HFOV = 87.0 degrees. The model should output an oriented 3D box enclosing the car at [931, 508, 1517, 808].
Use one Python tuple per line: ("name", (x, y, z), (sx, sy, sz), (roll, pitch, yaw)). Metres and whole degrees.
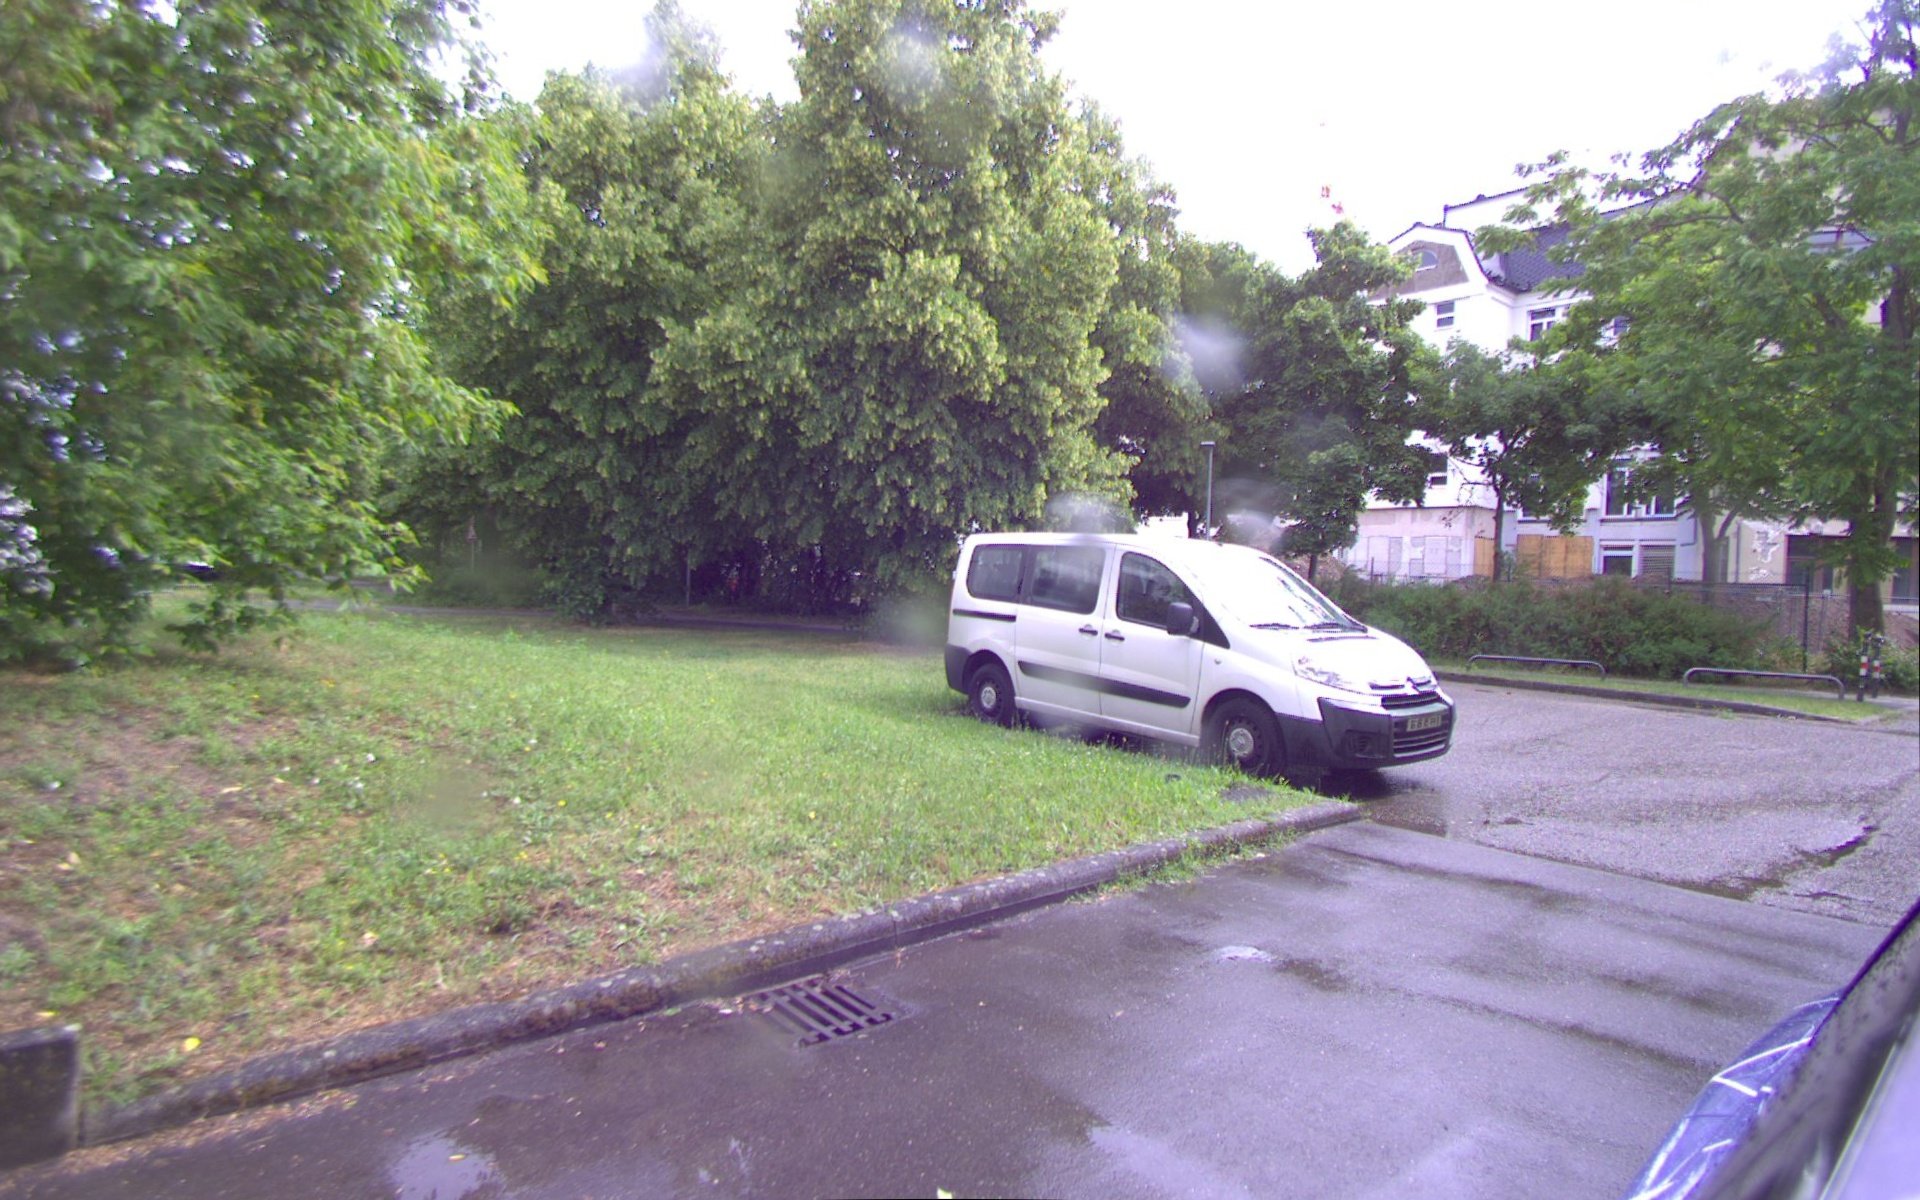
("car", (2.011, 0.311, 9.166), (2.061, 1.949, 4.887), (0, 1, -37))
